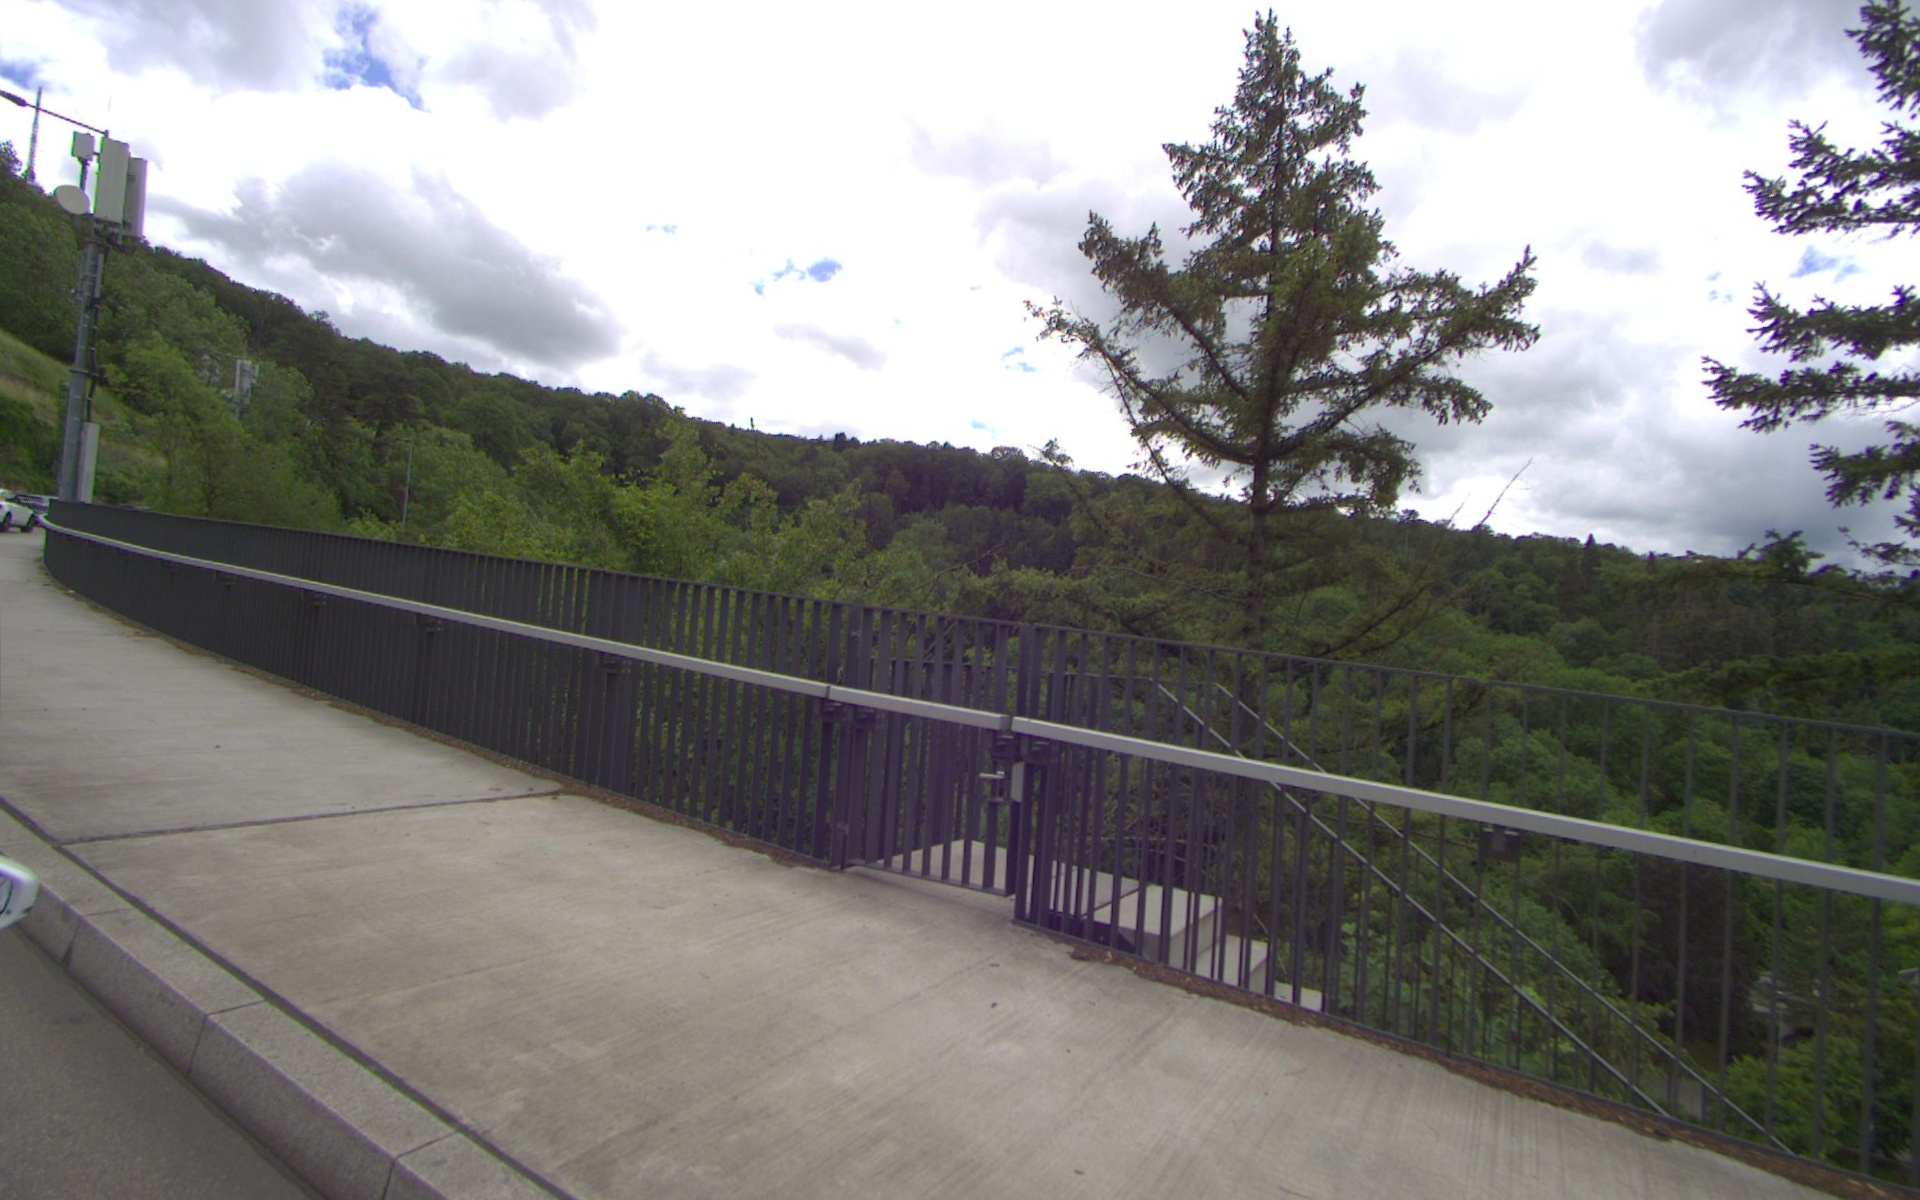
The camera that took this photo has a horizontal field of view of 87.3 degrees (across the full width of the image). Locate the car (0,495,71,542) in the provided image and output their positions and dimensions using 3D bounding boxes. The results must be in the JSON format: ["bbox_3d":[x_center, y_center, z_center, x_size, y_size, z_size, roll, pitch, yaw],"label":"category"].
[{"bbox_3d":[-45.764,-3.993,49.841,1.980,2.039,3.964,4,0,-34],"label":"car"}]

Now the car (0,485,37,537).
[{"bbox_3d":[-36.589,-3.423,37.786,1.979,1.738,4.081,7,-2,-32],"label":"car"}]
